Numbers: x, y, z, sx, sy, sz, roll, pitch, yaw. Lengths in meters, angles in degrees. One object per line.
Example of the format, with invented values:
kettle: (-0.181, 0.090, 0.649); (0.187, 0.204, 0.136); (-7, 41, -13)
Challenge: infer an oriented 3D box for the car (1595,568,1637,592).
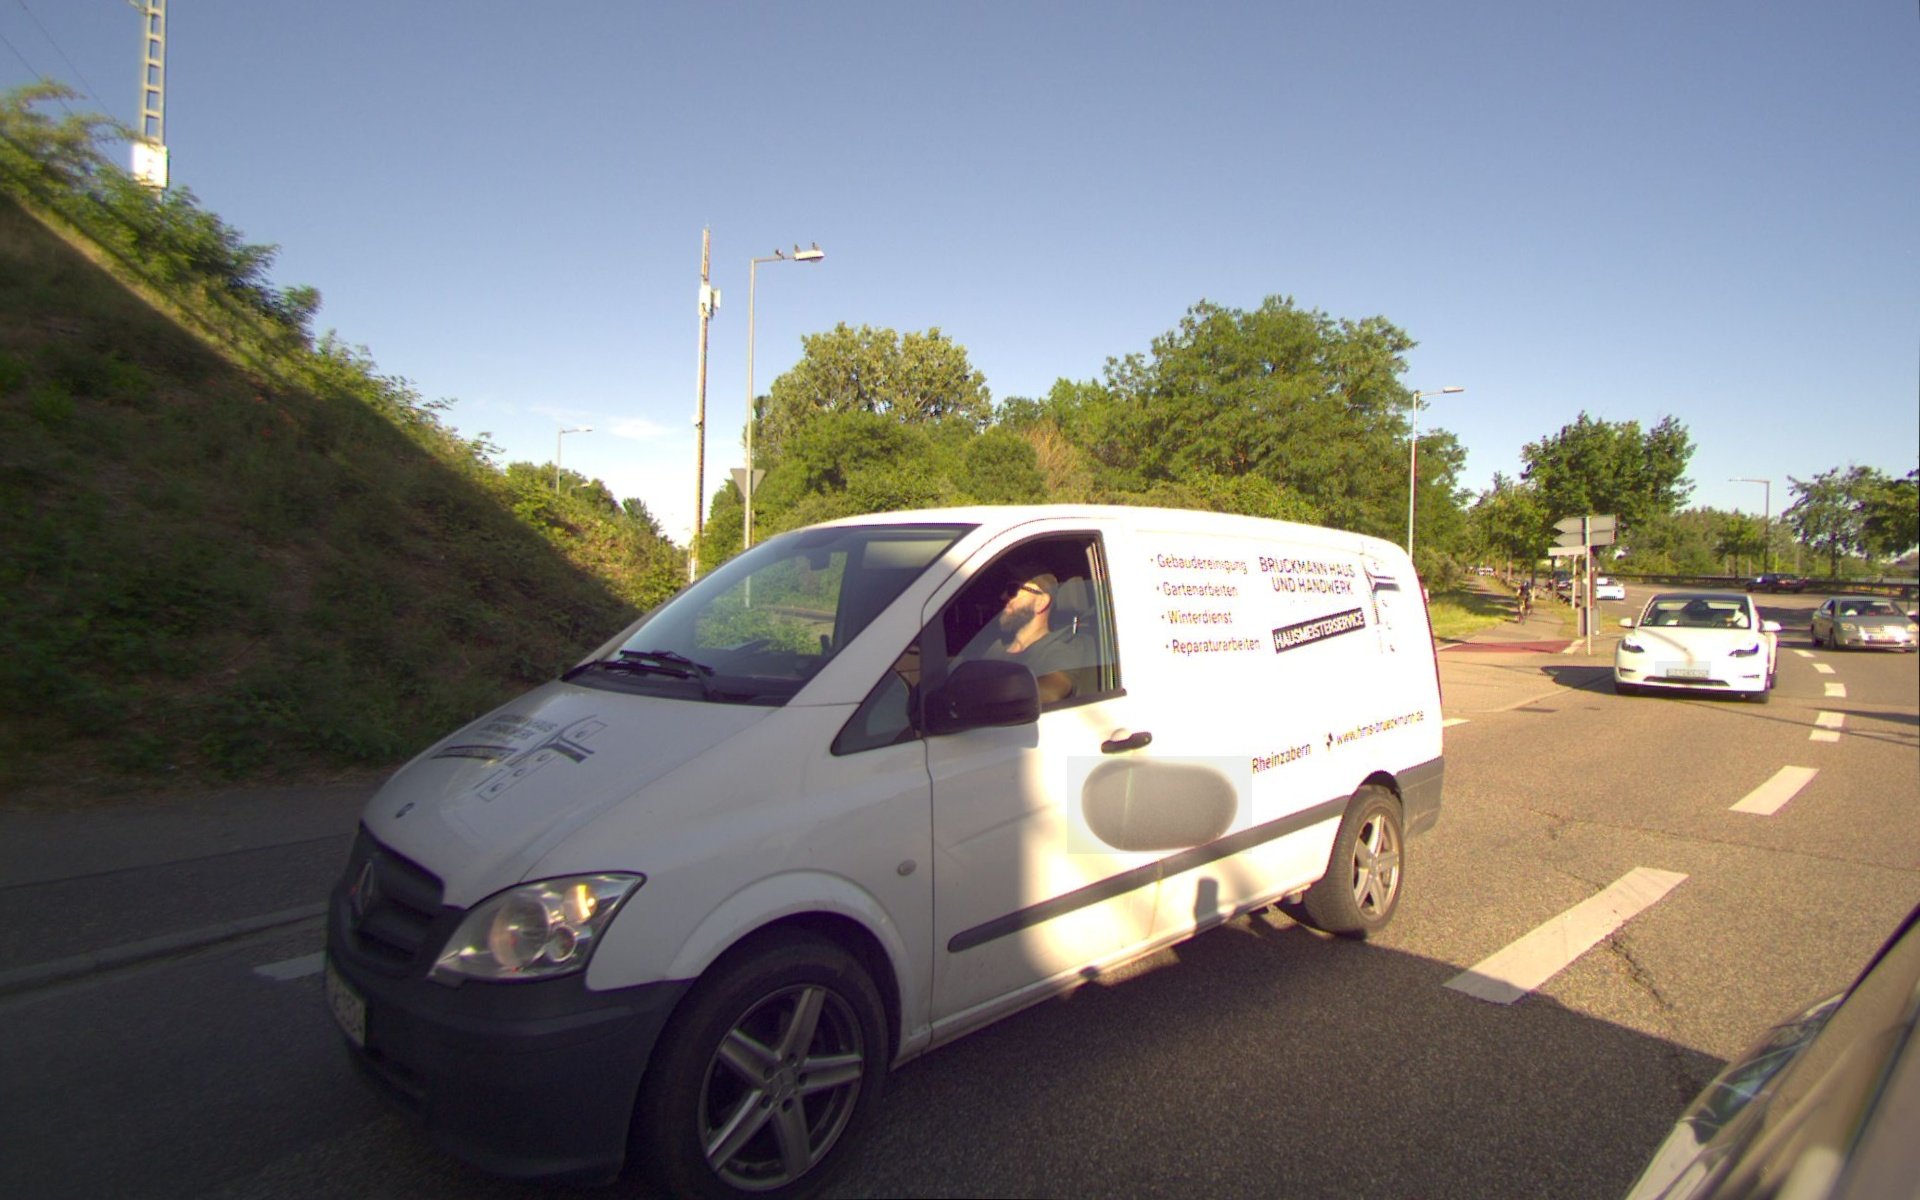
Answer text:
car: (43.550, -1.351, 67.251); (2.133, 1.587, 4.154); (0, 2, 30)

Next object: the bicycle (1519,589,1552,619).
bicycle: (23.316, 0.133, 41.026); (0.694, 1.087, 1.911); (3, 3, 17)

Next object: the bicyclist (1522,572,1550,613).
bicyclist: (23.321, -0.330, 41.007); (0.700, 1.597, 0.999); (3, 3, 18)

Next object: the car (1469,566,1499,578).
car: (65.142, -3.494, 125.966); (1.736, 1.507, 4.274); (-1, 2, 4)

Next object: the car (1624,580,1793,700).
car: (12.275, 0.529, 16.487); (1.912, 1.661, 4.345); (1, 1, 40)

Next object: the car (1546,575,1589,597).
car: (49.383, -1.132, 82.312); (1.973, 1.738, 4.249); (1, 1, 17)

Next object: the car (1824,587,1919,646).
car: (24.932, 0.405, 27.516); (1.672, 1.459, 3.813); (-1, 0, 33)

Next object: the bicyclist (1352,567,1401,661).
bicyclist: (8.381, 0.257, 20.361); (0.673, 1.798, 0.937); (4, 3, 34)

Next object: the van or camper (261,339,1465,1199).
van or camper: (0.135, 0.479, 4.231); (4.797, 1.907, 1.961); (1, 0, -43)

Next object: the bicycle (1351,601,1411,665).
bicycle: (8.458, 0.633, 20.278); (0.693, 1.108, 2.092); (4, 3, 33)

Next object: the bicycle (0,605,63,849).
bicycle: (-5.507, 0.531, 4.266); (0.742, 1.126, 2.416); (4, -2, 38)

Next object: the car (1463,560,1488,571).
car: (72.208, -4.859, 141.715); (1.706, 1.402, 4.488); (-1, 2, 8)

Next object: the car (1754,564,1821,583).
car: (59.565, -1.912, 72.933); (1.777, 1.326, 4.600); (0, 2, 12)
